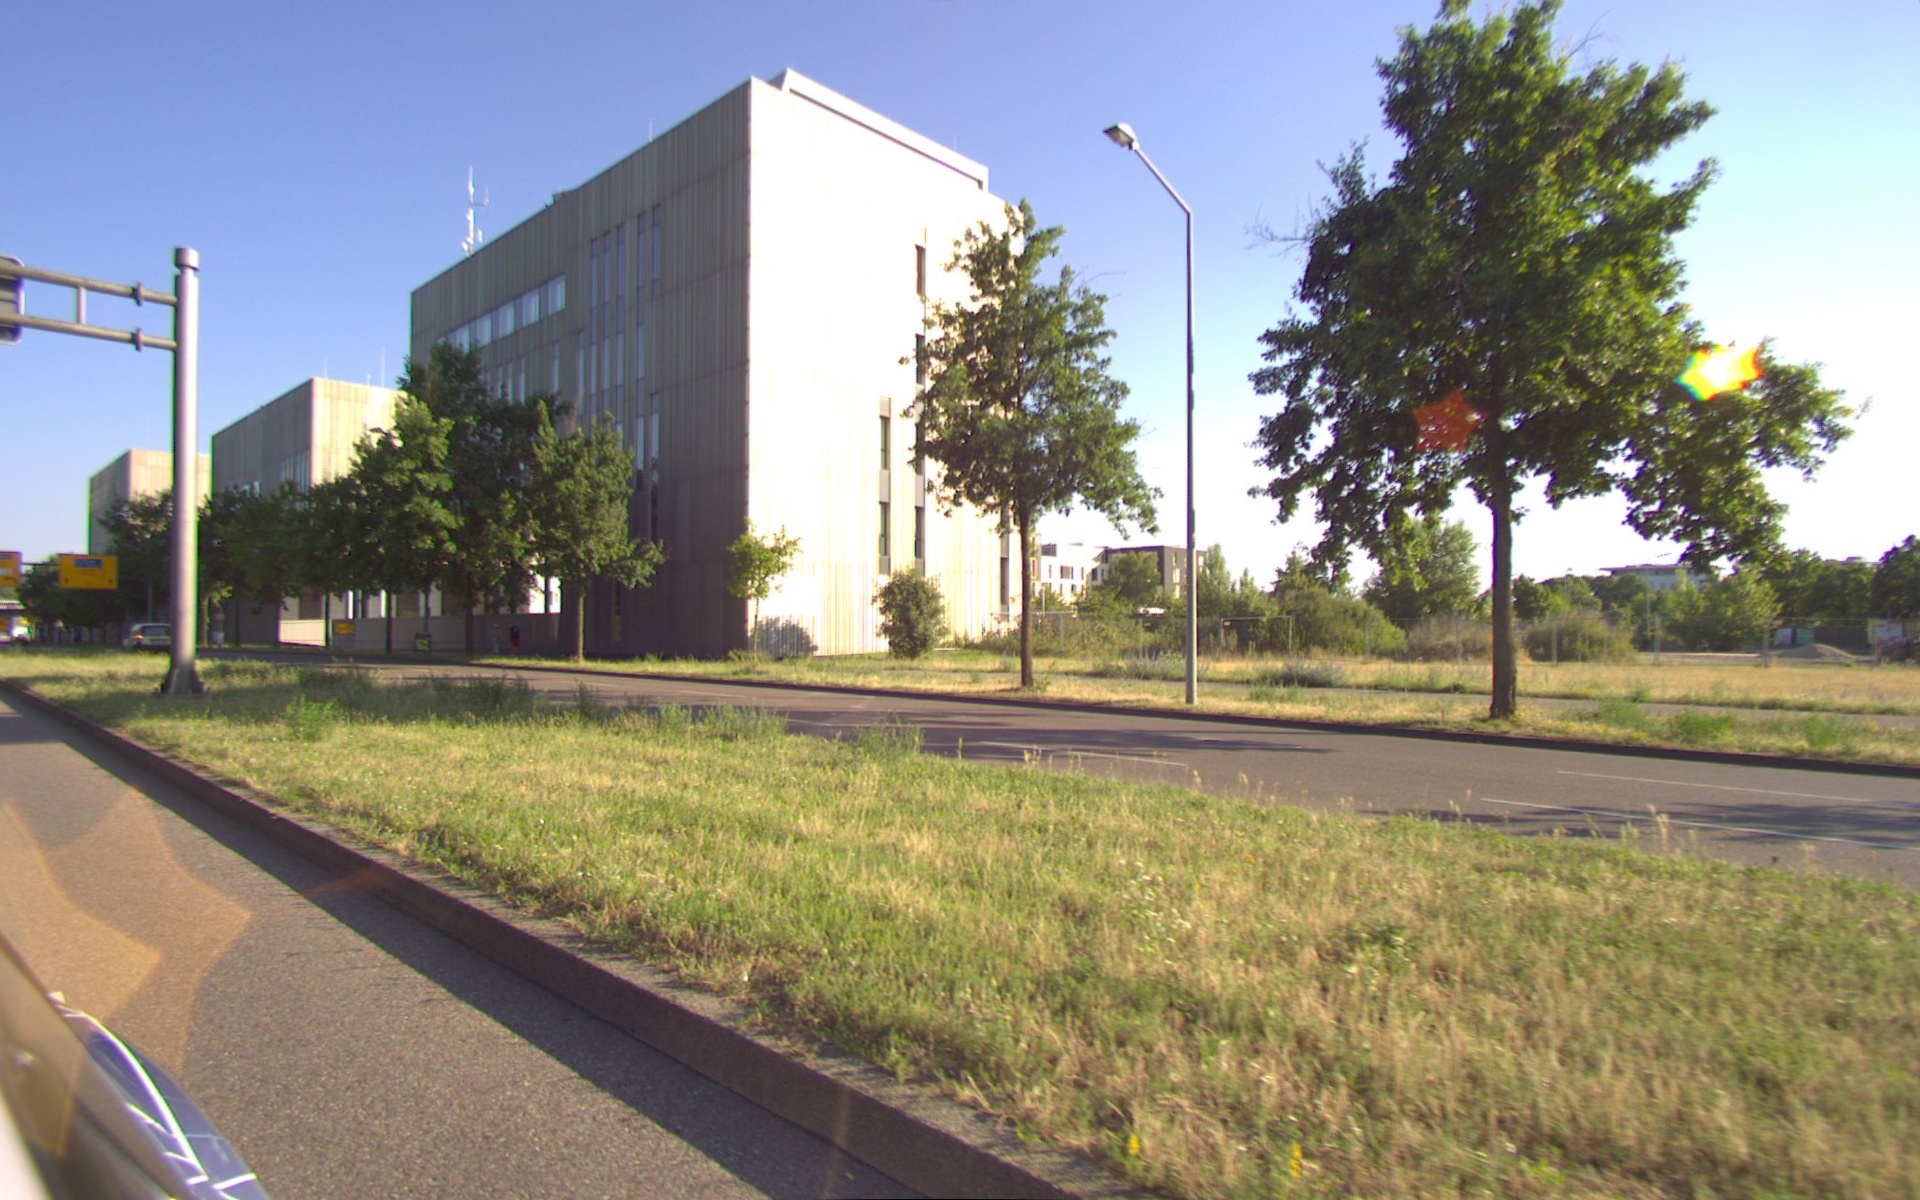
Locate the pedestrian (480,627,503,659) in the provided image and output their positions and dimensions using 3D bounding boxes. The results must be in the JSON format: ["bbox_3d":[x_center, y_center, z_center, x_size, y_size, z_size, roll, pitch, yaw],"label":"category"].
[{"bbox_3d":[-23.974,2.209,51.789,0.909,1.614,0.767,-3,-3,44],"label":"pedestrian"}]

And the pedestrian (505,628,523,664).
[{"bbox_3d":[-22.911,2.360,51.958,0.717,1.855,0.625,-3,-3,44],"label":"pedestrian"}]

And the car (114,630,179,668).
[{"bbox_3d":[-35.234,2.095,43.807,3.410,1.587,1.546,-2,-3,40],"label":"car"}]

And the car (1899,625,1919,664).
[{"bbox_3d":[50.782,2.292,52.044,1.981,2.029,3.863,-1,-2,14],"label":"car"}]

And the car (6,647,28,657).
[{"bbox_3d":[-138.699,7.618,148.832,3.859,1.524,1.581,-2,-3,36],"label":"car"}]
